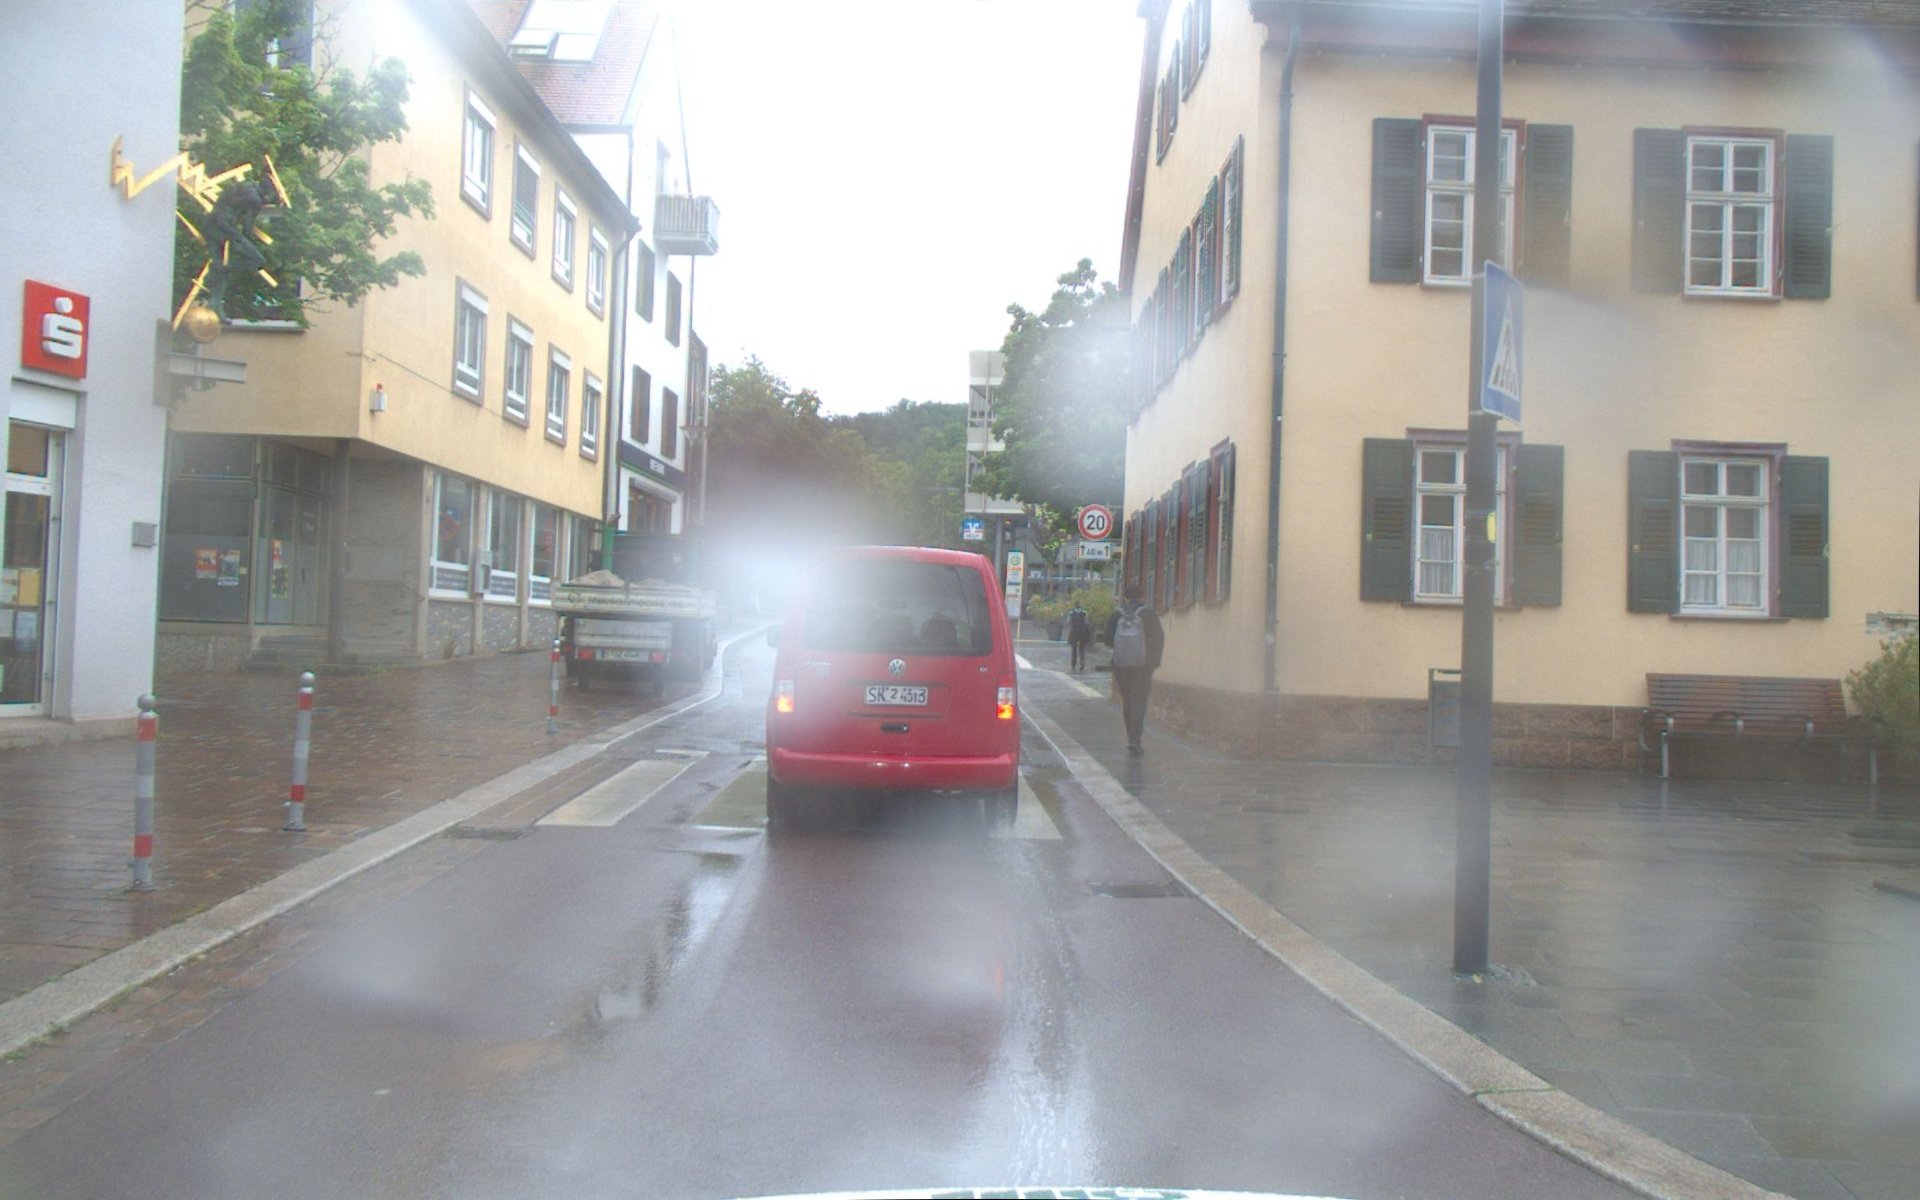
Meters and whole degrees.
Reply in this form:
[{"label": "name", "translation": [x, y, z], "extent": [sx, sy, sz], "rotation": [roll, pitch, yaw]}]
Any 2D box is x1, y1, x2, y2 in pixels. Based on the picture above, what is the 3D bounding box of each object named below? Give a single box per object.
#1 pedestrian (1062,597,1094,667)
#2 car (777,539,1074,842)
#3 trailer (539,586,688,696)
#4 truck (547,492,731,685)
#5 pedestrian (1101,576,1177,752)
[{"label": "pedestrian", "translation": [2.819, 0.763, 39.638], "extent": [0.713, 1.645, 0.694], "rotation": [1, -1, 1]}, {"label": "car", "translation": [-0.374, 0.567, 12.357], "extent": [1.826, 1.862, 4.181], "rotation": [1, 0, -5]}, {"label": "trailer", "translation": [-4.769, 0.520, 23.132], "extent": [1.694, 1.370, 3.157], "rotation": [1, 1, -6]}, {"label": "truck", "translation": [-5.239, -0.231, 27.962], "extent": [2.426, 2.843, 6.592], "rotation": [1, 1, -6]}, {"label": "pedestrian", "translation": [1.821, 0.625, 16.773], "extent": [0.699, 1.722, 0.868], "rotation": [1, 0, 8]}]
